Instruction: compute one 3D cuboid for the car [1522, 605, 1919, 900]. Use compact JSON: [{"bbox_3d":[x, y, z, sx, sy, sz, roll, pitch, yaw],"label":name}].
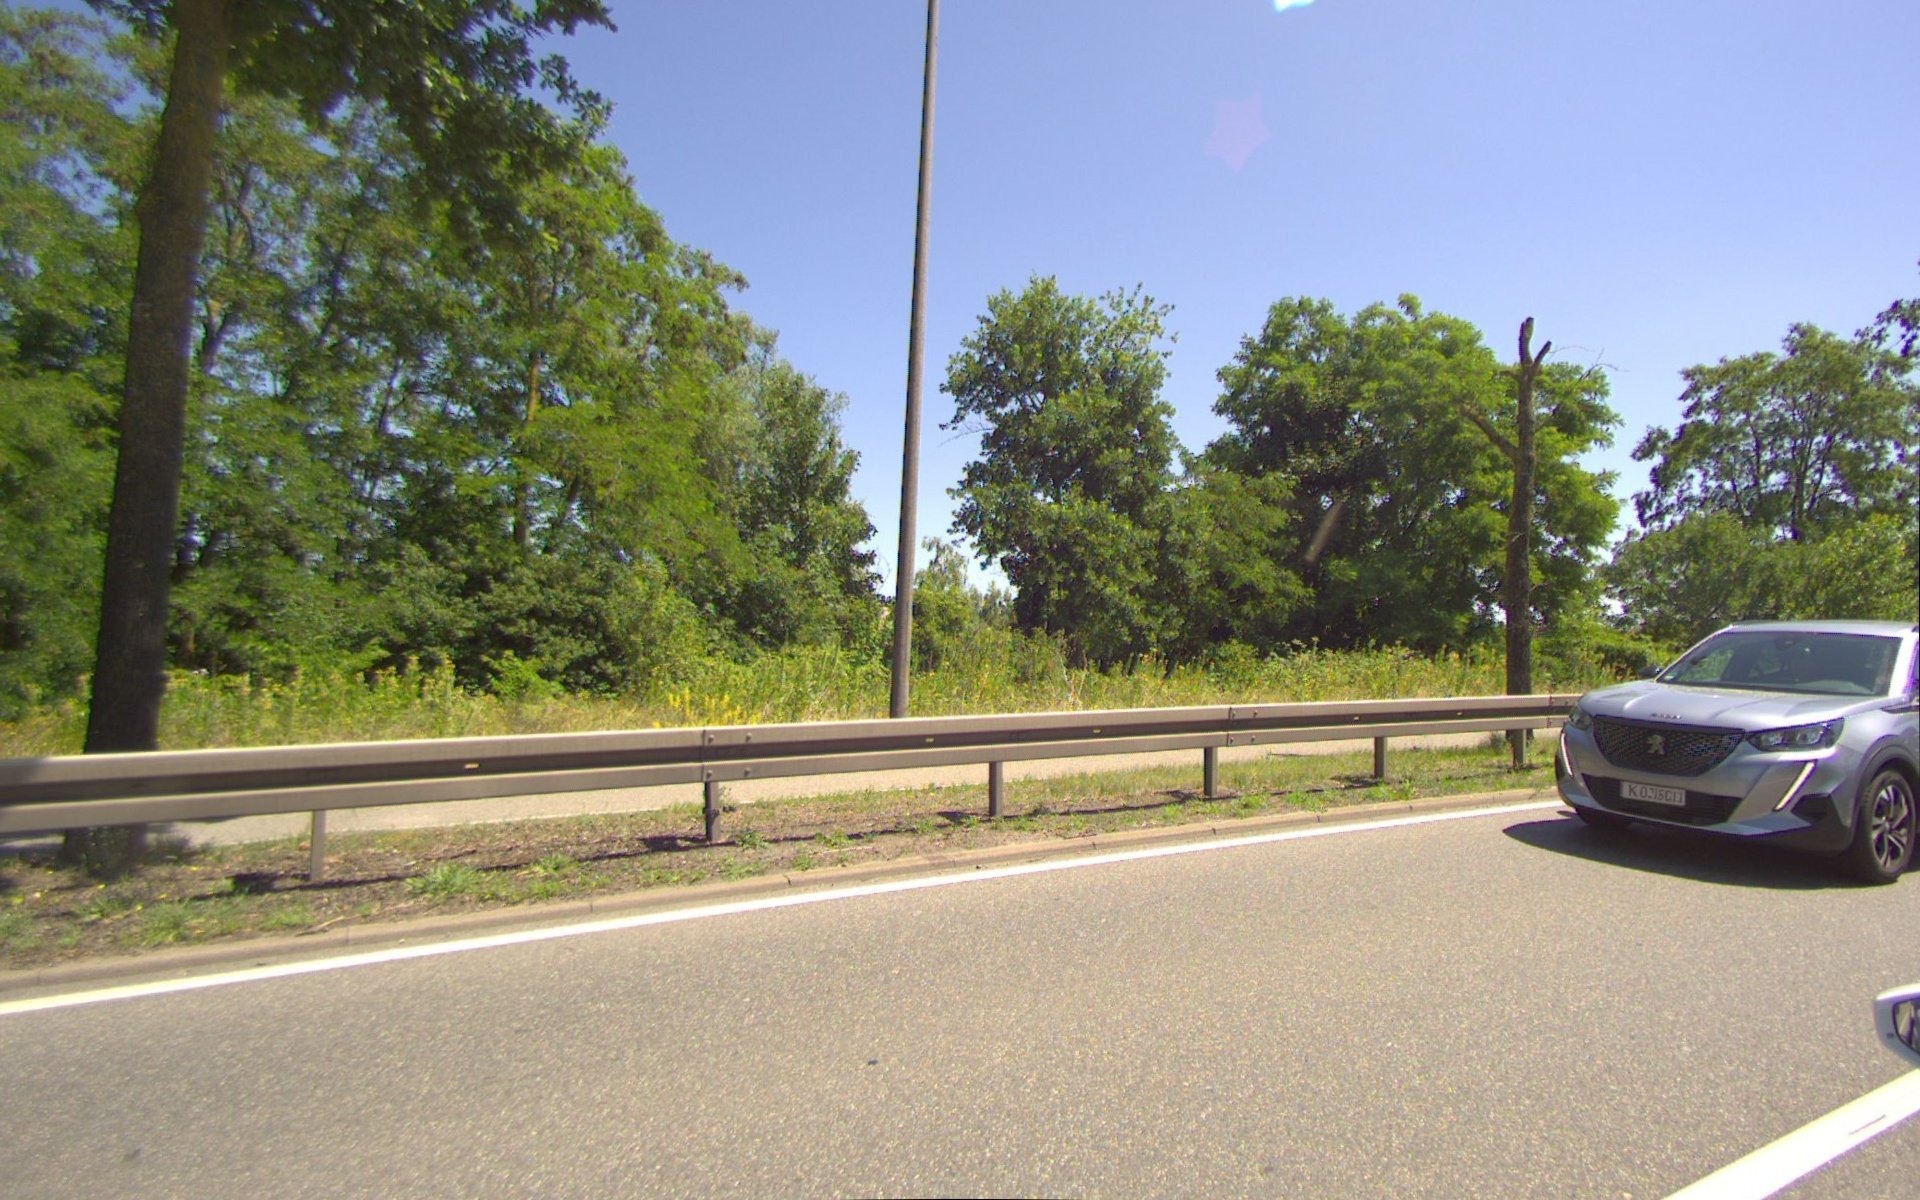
[{"bbox_3d":[6.120,0.878,7.104,4.072,1.576,1.743,2,-1,-26],"label":"car"}]
